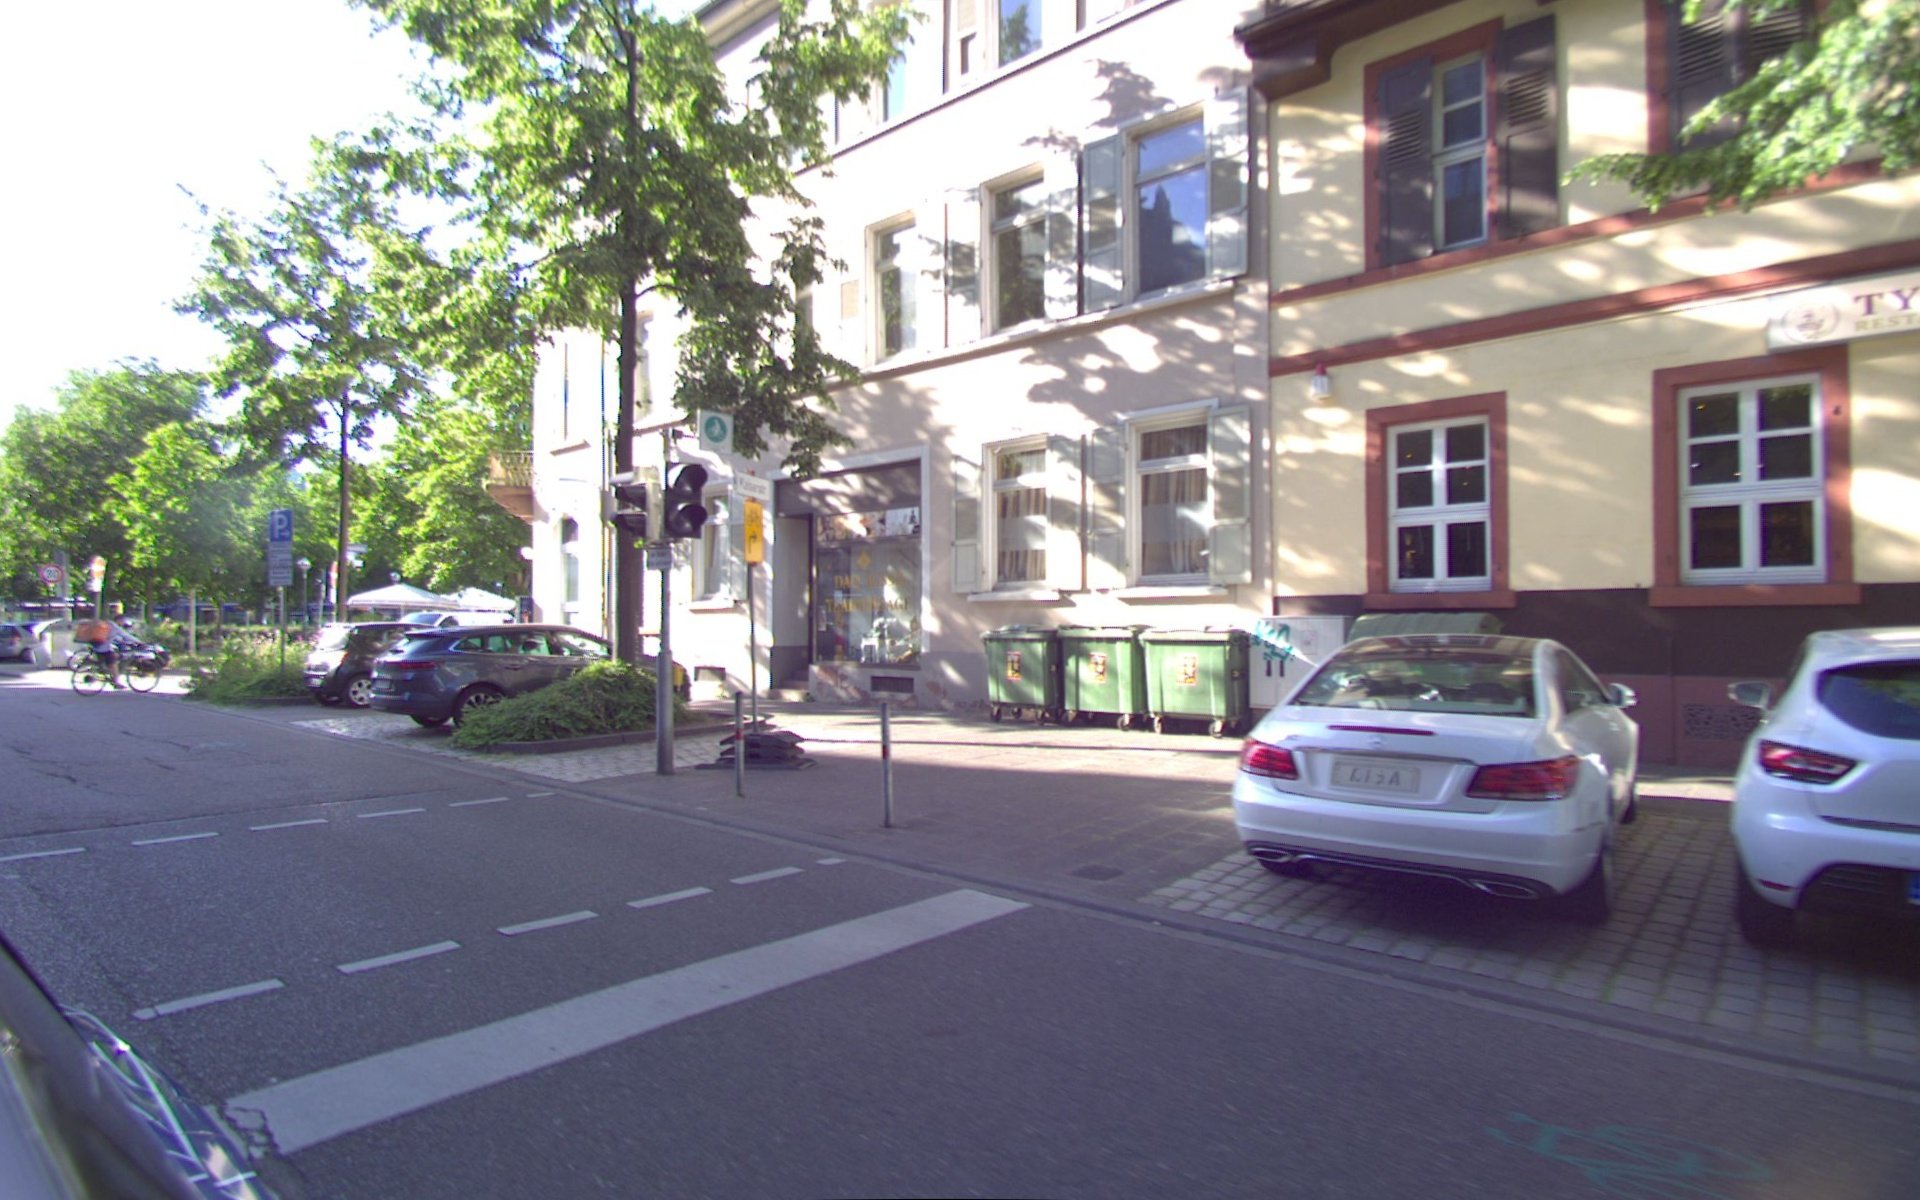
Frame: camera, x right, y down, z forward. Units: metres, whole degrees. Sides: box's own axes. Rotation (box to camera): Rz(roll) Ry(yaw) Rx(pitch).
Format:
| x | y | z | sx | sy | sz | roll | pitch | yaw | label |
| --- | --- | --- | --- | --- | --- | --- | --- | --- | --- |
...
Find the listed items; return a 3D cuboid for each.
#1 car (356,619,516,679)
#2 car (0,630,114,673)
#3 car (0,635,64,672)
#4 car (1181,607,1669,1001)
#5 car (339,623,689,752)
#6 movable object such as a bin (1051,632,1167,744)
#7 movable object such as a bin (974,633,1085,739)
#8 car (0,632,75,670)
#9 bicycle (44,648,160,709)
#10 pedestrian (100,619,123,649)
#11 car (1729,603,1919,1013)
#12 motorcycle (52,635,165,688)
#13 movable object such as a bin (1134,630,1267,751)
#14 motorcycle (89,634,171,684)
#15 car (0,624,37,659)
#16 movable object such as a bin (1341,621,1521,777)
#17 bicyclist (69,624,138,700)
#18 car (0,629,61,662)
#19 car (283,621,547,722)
| x | y | z | sx | sy | sz | roll | pitch | yaw | label |
| --- | --- | --- | --- | --- | --- | --- | --- | --- | --- |
| -18.411 | 1.730 | 35.916 | 2.055 | 1.959 | 5.303 | -1 | -3 | 15 | car |
| -36.055 | 1.979 | 39.774 | 1.978 | 1.574 | 3.988 | -1 | -1 | 9 | car |
| -40.659 | 2.257 | 42.626 | 1.981 | 1.485 | 3.981 | -1 | -1 | 14 | car |
| 3.303 | 0.829 | 6.512 | 1.996 | 1.503 | 4.657 | 0 | 0 | 36 | car |
| -6.380 | 1.150 | 14.833 | 1.944 | 1.556 | 4.292 | -2 | -2 | 42 | car |
| 1.941 | 1.117 | 13.253 | 1.249 | 1.366 | 0.820 | -2 | -2 | 44 | movable object such as a bin |
| 0.960 | 1.151 | 14.070 | 1.261 | 1.377 | 0.899 | -2 | -2 | 44 | movable object such as a bin |
| -38.306 | 2.041 | 40.542 | 1.978 | 1.453 | 3.988 | -1 | -1 | 9 | car |
| -17.885 | 1.612 | 21.165 | 0.661 | 1.167 | 1.940 | -1 | -1 | 6 | bicycle |
| -36.683 | 1.475 | 43.775 | 0.520 | 1.266 | 0.519 | 0 | -2 | 7 | pedestrian |
| 5.519 | 0.792 | 5.346 | 1.999 | 1.503 | 4.651 | -3 | -1 | 41 | car |
| -24.634 | 1.750 | 29.338 | 2.282 | 1.434 | 1.004 | 0 | -1 | -22 | motorcycle |
| 2.920 | 1.055 | 12.361 | 1.346 | 1.372 | 0.808 | -2 | -2 | 44 | movable object such as a bin |
| -24.858 | 1.752 | 30.355 | 1.724 | 1.434 | 0.832 | 0 | -1 | -23 | motorcycle |
| -49.109 | 2.085 | 50.540 | 1.986 | 1.706 | 3.971 | -1 | -1 | 21 | car |
| 4.852 | 0.953 | 10.443 | 1.382 | 1.455 | 1.121 | -2 | -2 | 44 | movable object such as a bin |
| -17.890 | 1.284 | 21.147 | 0.661 | 1.537 | 0.888 | -1 | -1 | 6 | bicyclist |
| -44.884 | 2.123 | 47.230 | 1.990 | 1.485 | 3.962 | -1 | -1 | 28 | car |
| -10.112 | 1.245 | 18.985 | 1.943 | 1.652 | 3.946 | -2 | -2 | 40 | car |
